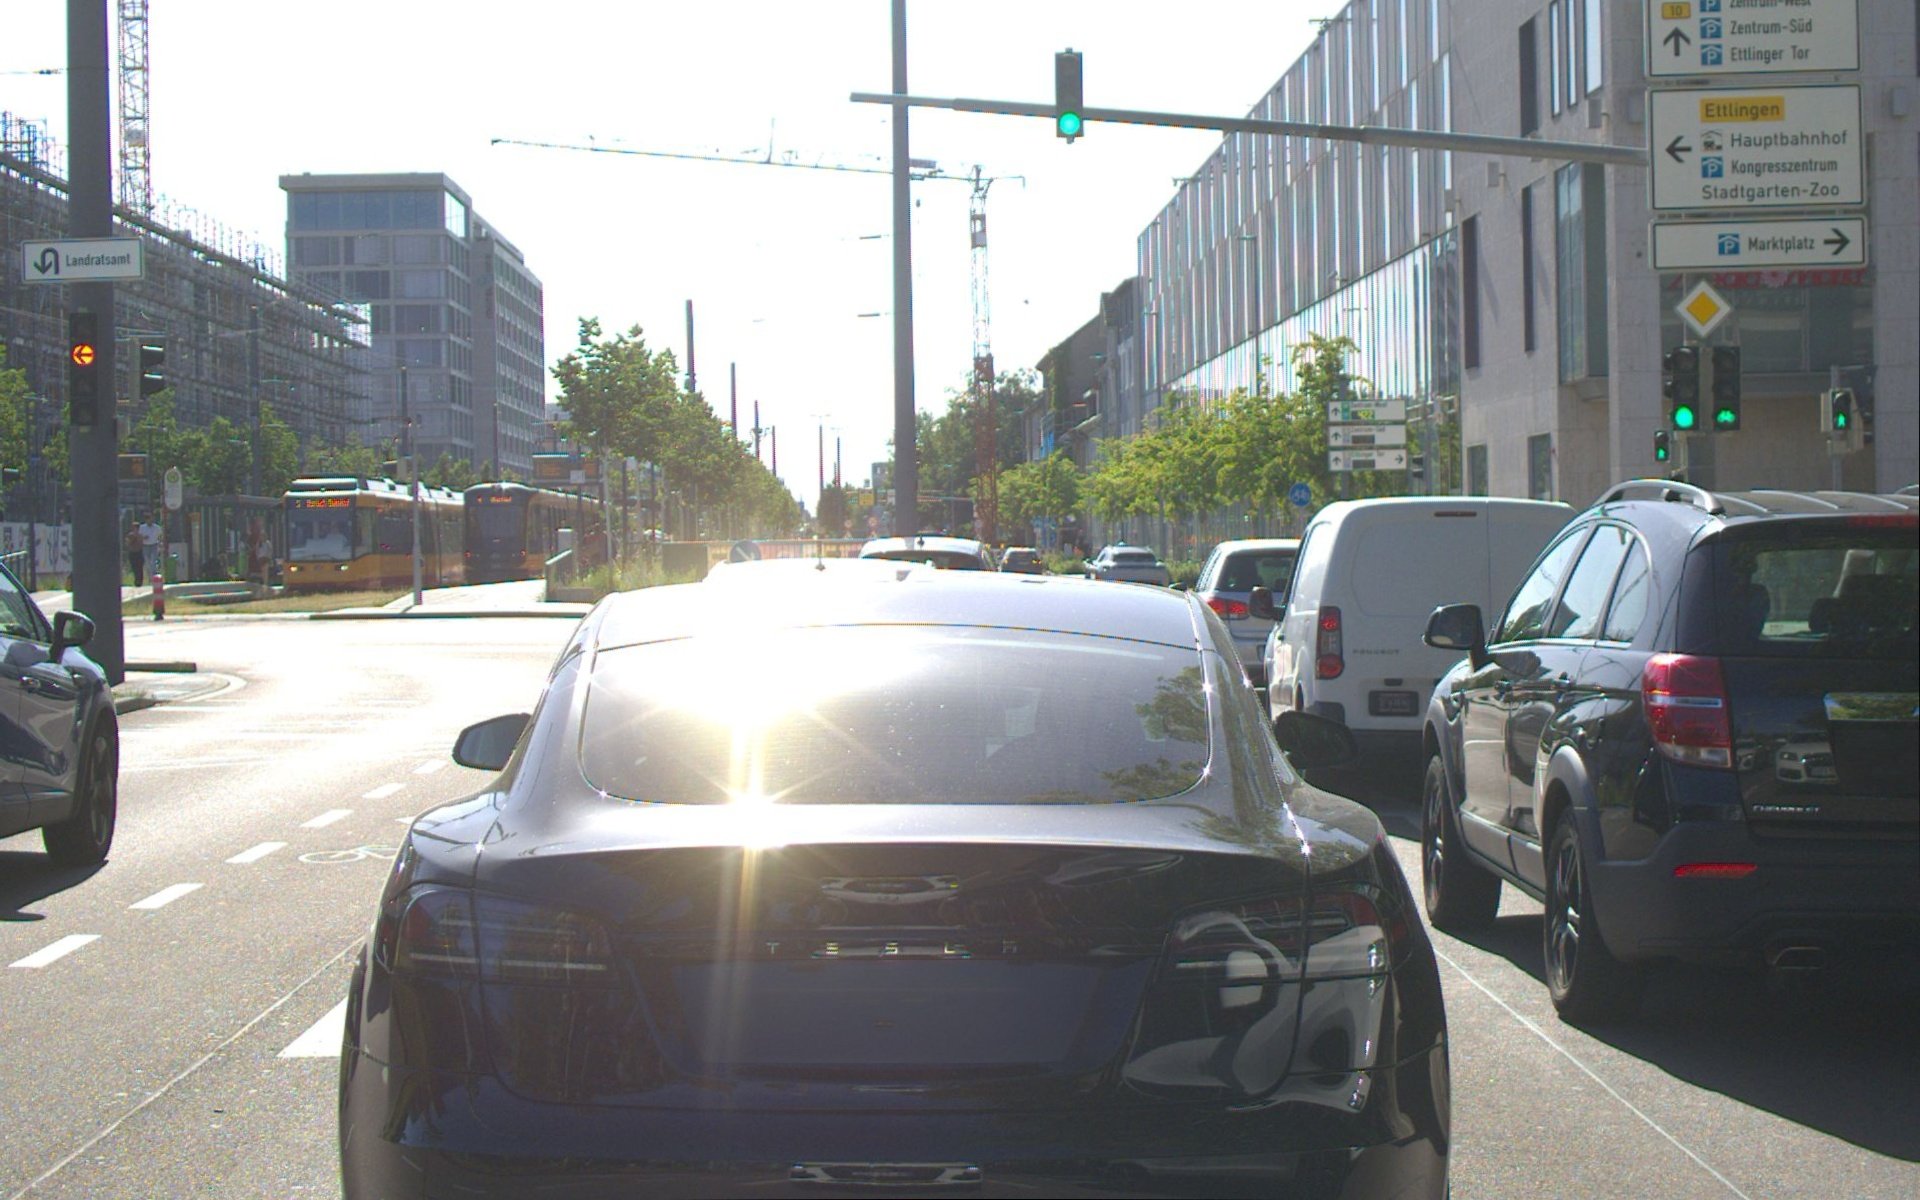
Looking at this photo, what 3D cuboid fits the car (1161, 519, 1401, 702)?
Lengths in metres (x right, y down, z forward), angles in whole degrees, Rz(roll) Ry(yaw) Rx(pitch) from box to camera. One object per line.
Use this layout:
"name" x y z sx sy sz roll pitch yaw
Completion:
"car" 2.843 0.040 31.230 1.784 1.540 4.039 0 1 0

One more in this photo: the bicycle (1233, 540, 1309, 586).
"bicycle" 8.759 -1.049 96.804 2.086 1.201 0.950 -2 1 5

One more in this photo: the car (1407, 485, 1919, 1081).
"car" 2.752 0.466 12.001 1.784 1.693 4.413 0 1 0

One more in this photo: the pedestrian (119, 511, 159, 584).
"pedestrian" -20.749 -1.326 86.869 0.800 1.817 0.976 -1 1 -4

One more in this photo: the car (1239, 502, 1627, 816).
"car" 2.788 0.278 21.107 1.784 1.728 4.163 0 1 0

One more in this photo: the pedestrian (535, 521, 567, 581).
"pedestrian" -12.463 -1.495 104.756 0.874 1.769 1.189 1 2 -4

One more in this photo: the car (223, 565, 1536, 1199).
"car" -0.131 0.661 7.448 1.999 1.429 4.413 0 1 0

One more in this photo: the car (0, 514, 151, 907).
"car" -4.755 0.418 14.539 1.770 1.583 4.089 1 1 -1

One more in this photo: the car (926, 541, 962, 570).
"car" -0.904 -2.472 190.745 1.934 1.536 4.000 0 1 -1

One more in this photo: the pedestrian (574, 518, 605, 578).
"pedestrian" -10.052 -1.414 93.216 0.741 1.623 0.861 -1 1 0

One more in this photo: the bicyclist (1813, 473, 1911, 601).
"bicyclist" 10.563 -0.738 40.280 0.881 1.472 0.883 -1 1 -1

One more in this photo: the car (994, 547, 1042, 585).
"car" 2.488 -1.464 147.613 1.934 1.536 4.000 0 1 -1

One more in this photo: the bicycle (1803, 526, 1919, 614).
"bicycle" 10.564 -0.363 40.178 0.881 0.981 2.051 -1 1 -1

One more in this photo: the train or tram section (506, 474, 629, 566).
"train or tram section" -15.277 -3.100 135.563 2.870 3.268 22.145 1 1 -2

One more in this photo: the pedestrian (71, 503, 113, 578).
"pedestrian" -21.342 -1.467 84.571 0.800 1.817 0.976 -1 1 -4

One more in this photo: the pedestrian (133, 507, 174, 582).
"pedestrian" -19.665 -1.358 83.868 0.800 1.817 0.976 -1 1 -4

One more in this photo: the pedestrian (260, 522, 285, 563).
"pedestrian" -20.544 -1.715 102.774 0.671 1.222 0.506 1 0 -4

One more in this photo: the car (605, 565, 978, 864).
"car" -0.803 0.509 17.911 1.716 1.315 4.000 0 1 -1

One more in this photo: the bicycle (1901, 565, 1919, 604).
"bicycle" 17.661 -0.291 59.991 2.193 0.669 1.072 -1 1 3

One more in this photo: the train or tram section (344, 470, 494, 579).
"train or tram section" -17.793 -2.412 114.193 2.847 3.310 15.967 1 1 -2

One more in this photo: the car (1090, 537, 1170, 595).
"car" 4.620 -0.949 93.984 1.934 1.536 4.000 0 1 -1

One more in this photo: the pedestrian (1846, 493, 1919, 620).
"pedestrian" 13.694 -0.644 50.286 0.967 1.795 1.523 -3 1 -1

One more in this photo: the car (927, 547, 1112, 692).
"car" 0.538 0.153 34.150 1.716 1.315 4.000 0 1 -1

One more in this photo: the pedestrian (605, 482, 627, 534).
"pedestrian" -12.261 -3.272 122.534 0.671 1.804 1.075 -1 1 -2

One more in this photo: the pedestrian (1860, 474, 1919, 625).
"pedestrian" 12.761 -0.686 46.102 0.946 2.007 1.080 -1 1 -12

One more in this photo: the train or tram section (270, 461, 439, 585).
"train or tram section" -17.403 -2.207 99.701 2.870 3.298 13.074 1 1 -2

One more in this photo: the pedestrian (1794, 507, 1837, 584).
"pedestrian" 18.134 -1.155 72.895 0.747 1.602 0.557 -1 2 -2

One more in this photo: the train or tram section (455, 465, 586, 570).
"train or tram section" -14.793 -2.772 116.932 2.870 3.268 15.186 1 1 -2
